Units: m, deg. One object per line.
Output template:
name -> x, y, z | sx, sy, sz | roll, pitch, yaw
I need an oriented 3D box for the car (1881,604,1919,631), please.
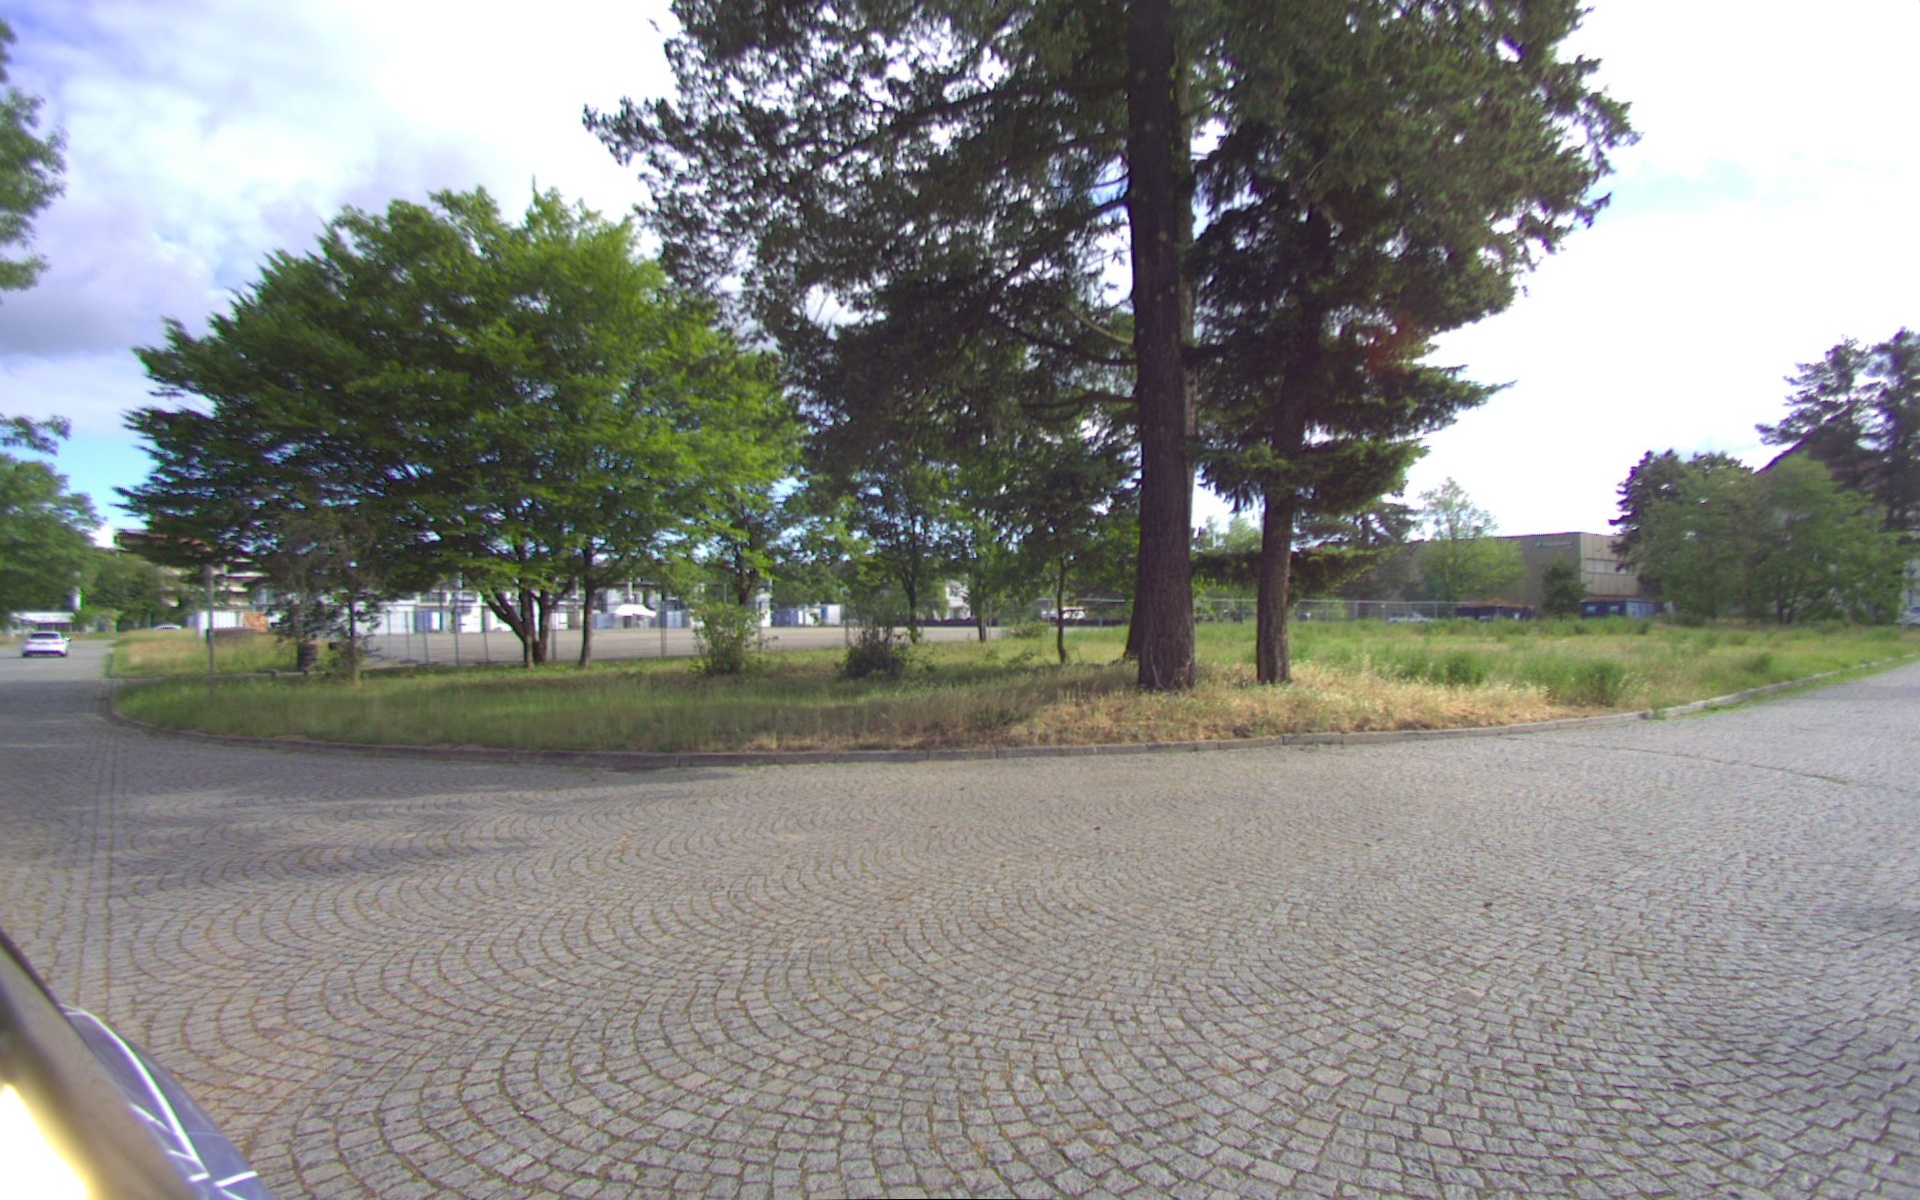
car -> 56.558, 0.981, 59.269 | 3.731, 1.449, 1.604 | -5, -3, 42

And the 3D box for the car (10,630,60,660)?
car -> -50.040, 2.407, 54.833 | 1.826, 1.448, 4.713 | -1, -1, -40

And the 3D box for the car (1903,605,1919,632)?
car -> 53.520, 0.923, 54.605 | 1.602, 1.449, 3.735 | -1, -3, -44
